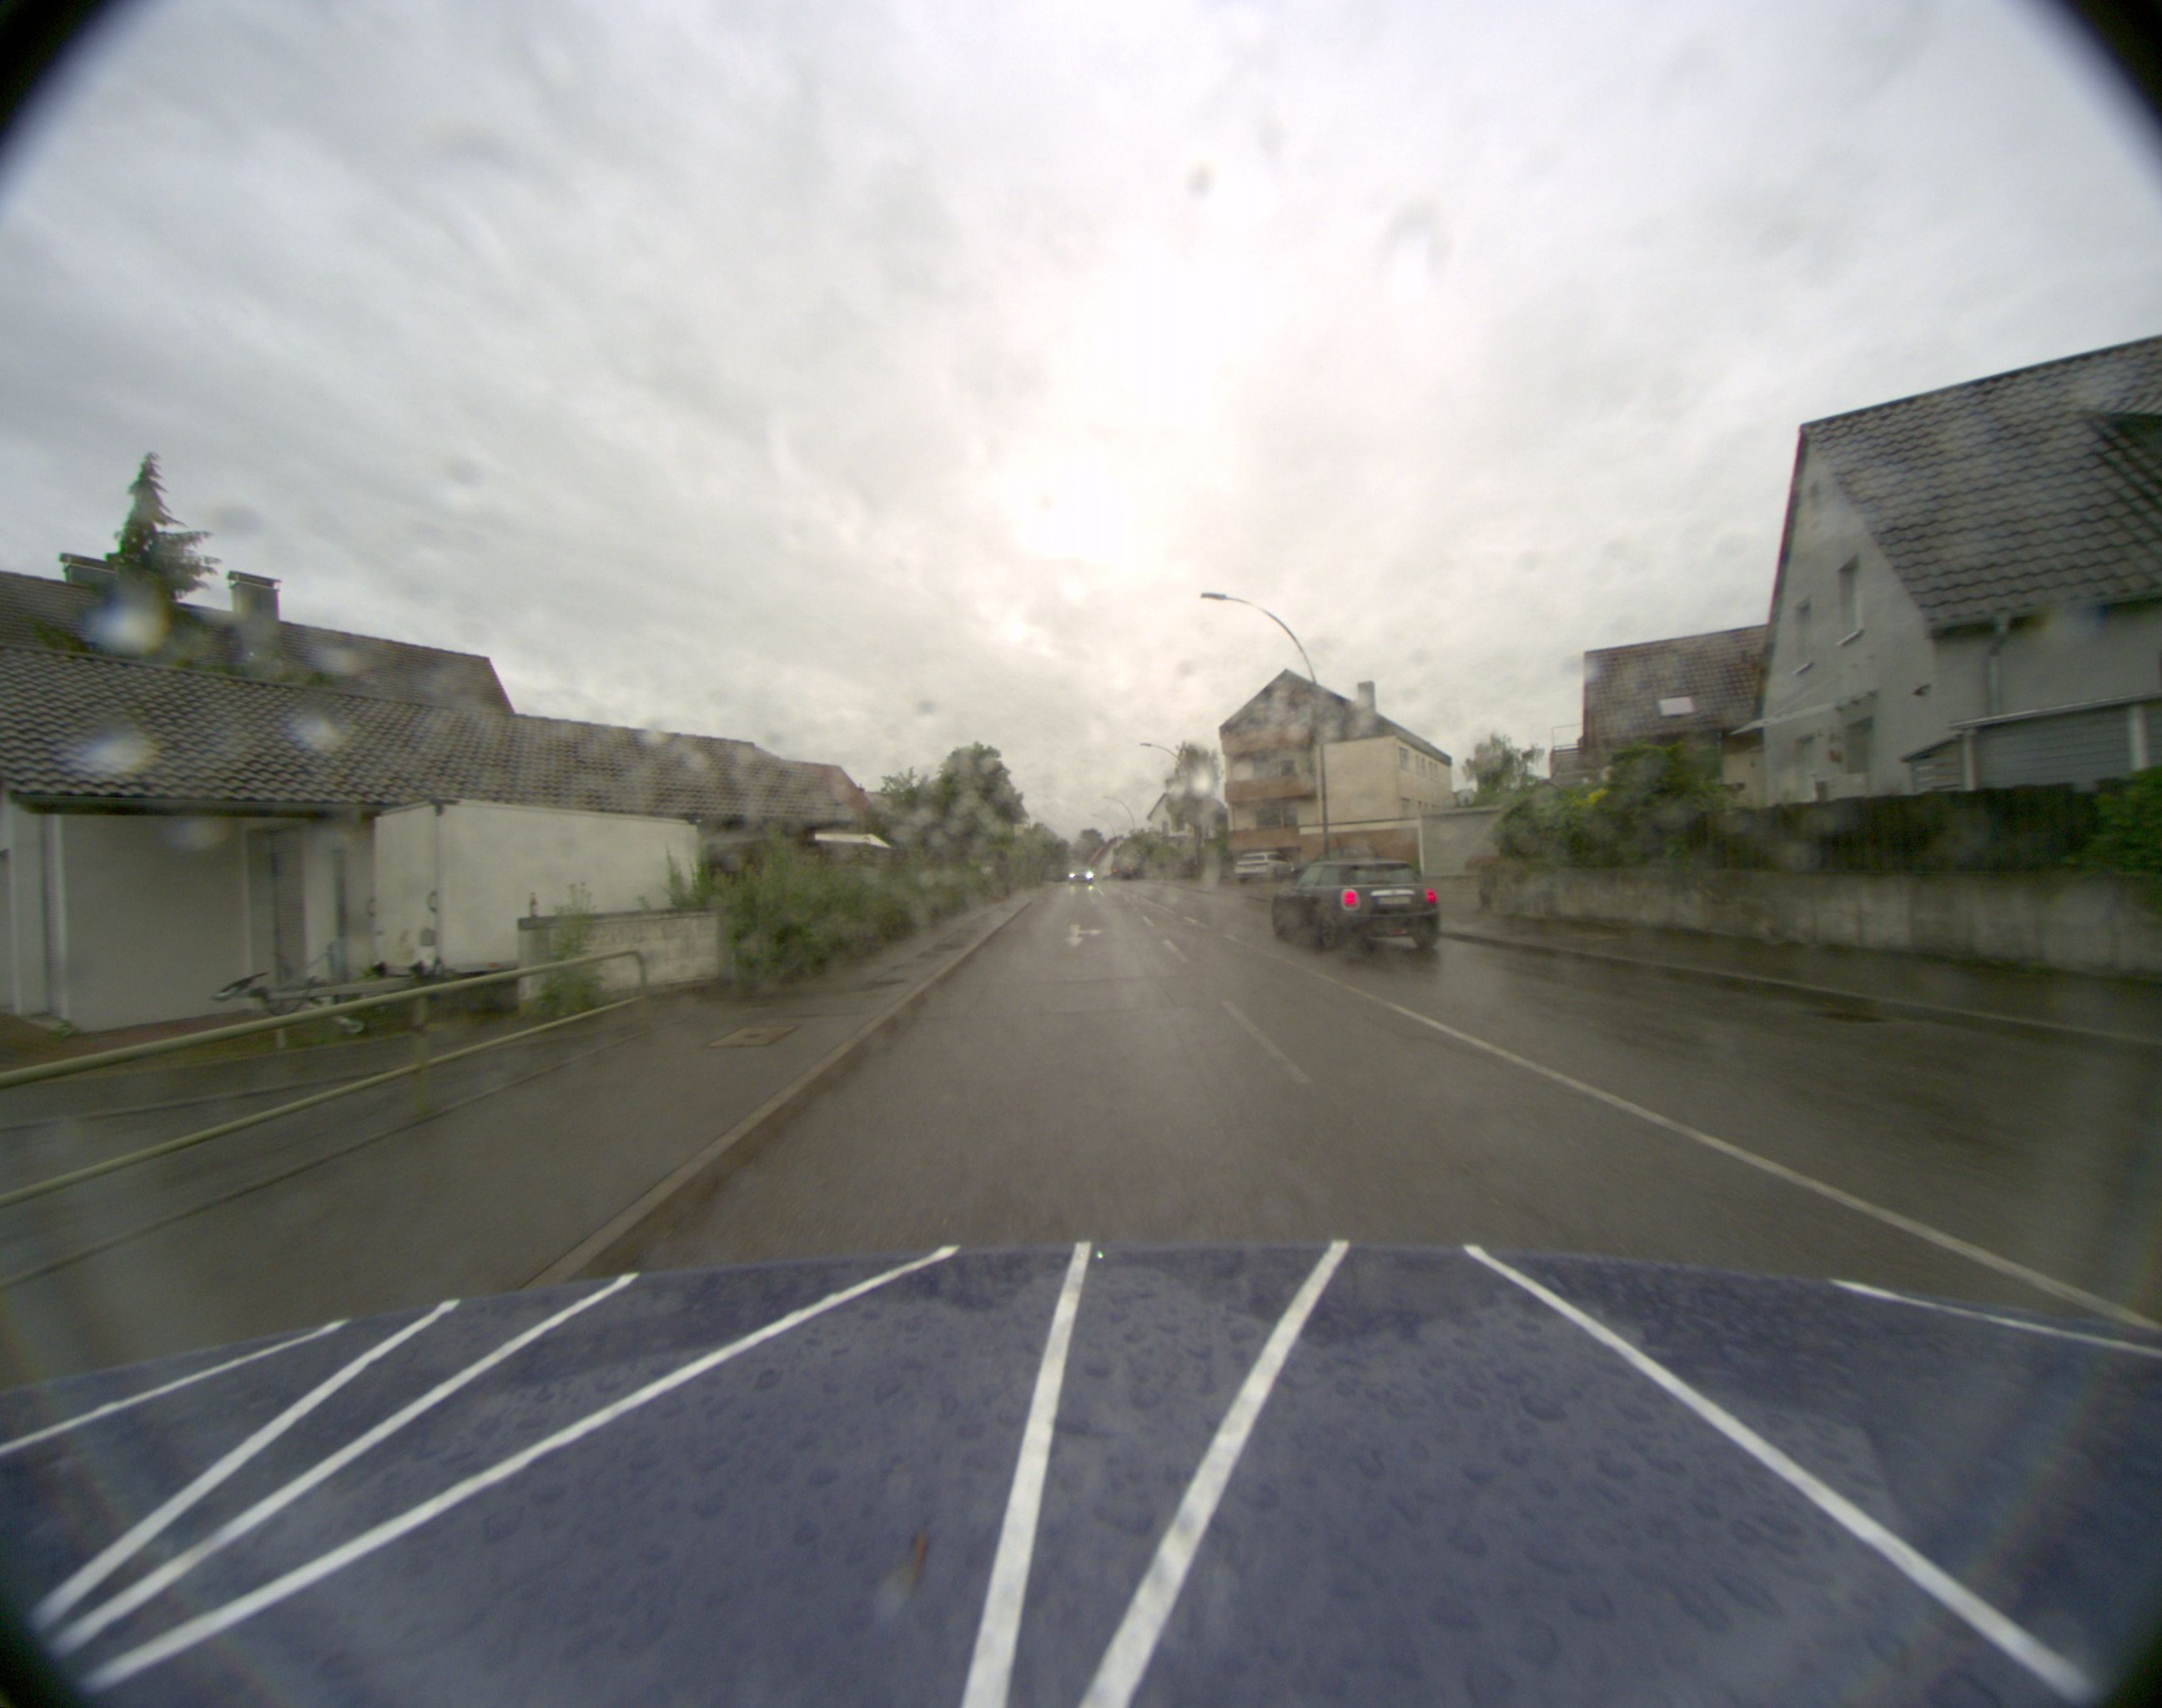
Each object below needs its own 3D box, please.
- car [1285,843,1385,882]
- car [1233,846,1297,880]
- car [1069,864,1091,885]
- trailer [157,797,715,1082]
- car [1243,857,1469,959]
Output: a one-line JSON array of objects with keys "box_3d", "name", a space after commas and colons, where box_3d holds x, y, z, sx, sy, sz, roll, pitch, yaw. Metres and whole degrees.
[{"box_3d": [10.877, 0.369, 32.591, 3.661, 1.510, 1.758, -2, 1, 35], "name": "car"}, {"box_3d": [9.355, 0.445, 38.395, 1.864, 1.510, 4.007, -2, 1, 33], "name": "car"}, {"box_3d": [-0.068, 1.649, 62.167, 1.687, 1.486, 3.939, -2, 1, 0], "name": "car"}, {"box_3d": [-7.118, 0.733, 9.110, 1.645, 2.503, 4.712, -3, 0, 29], "name": "trailer"}, {"box_3d": [4.599, 0.809, 13.602, 1.999, 1.396, 4.621, -2, 0, -5], "name": "car"}]
